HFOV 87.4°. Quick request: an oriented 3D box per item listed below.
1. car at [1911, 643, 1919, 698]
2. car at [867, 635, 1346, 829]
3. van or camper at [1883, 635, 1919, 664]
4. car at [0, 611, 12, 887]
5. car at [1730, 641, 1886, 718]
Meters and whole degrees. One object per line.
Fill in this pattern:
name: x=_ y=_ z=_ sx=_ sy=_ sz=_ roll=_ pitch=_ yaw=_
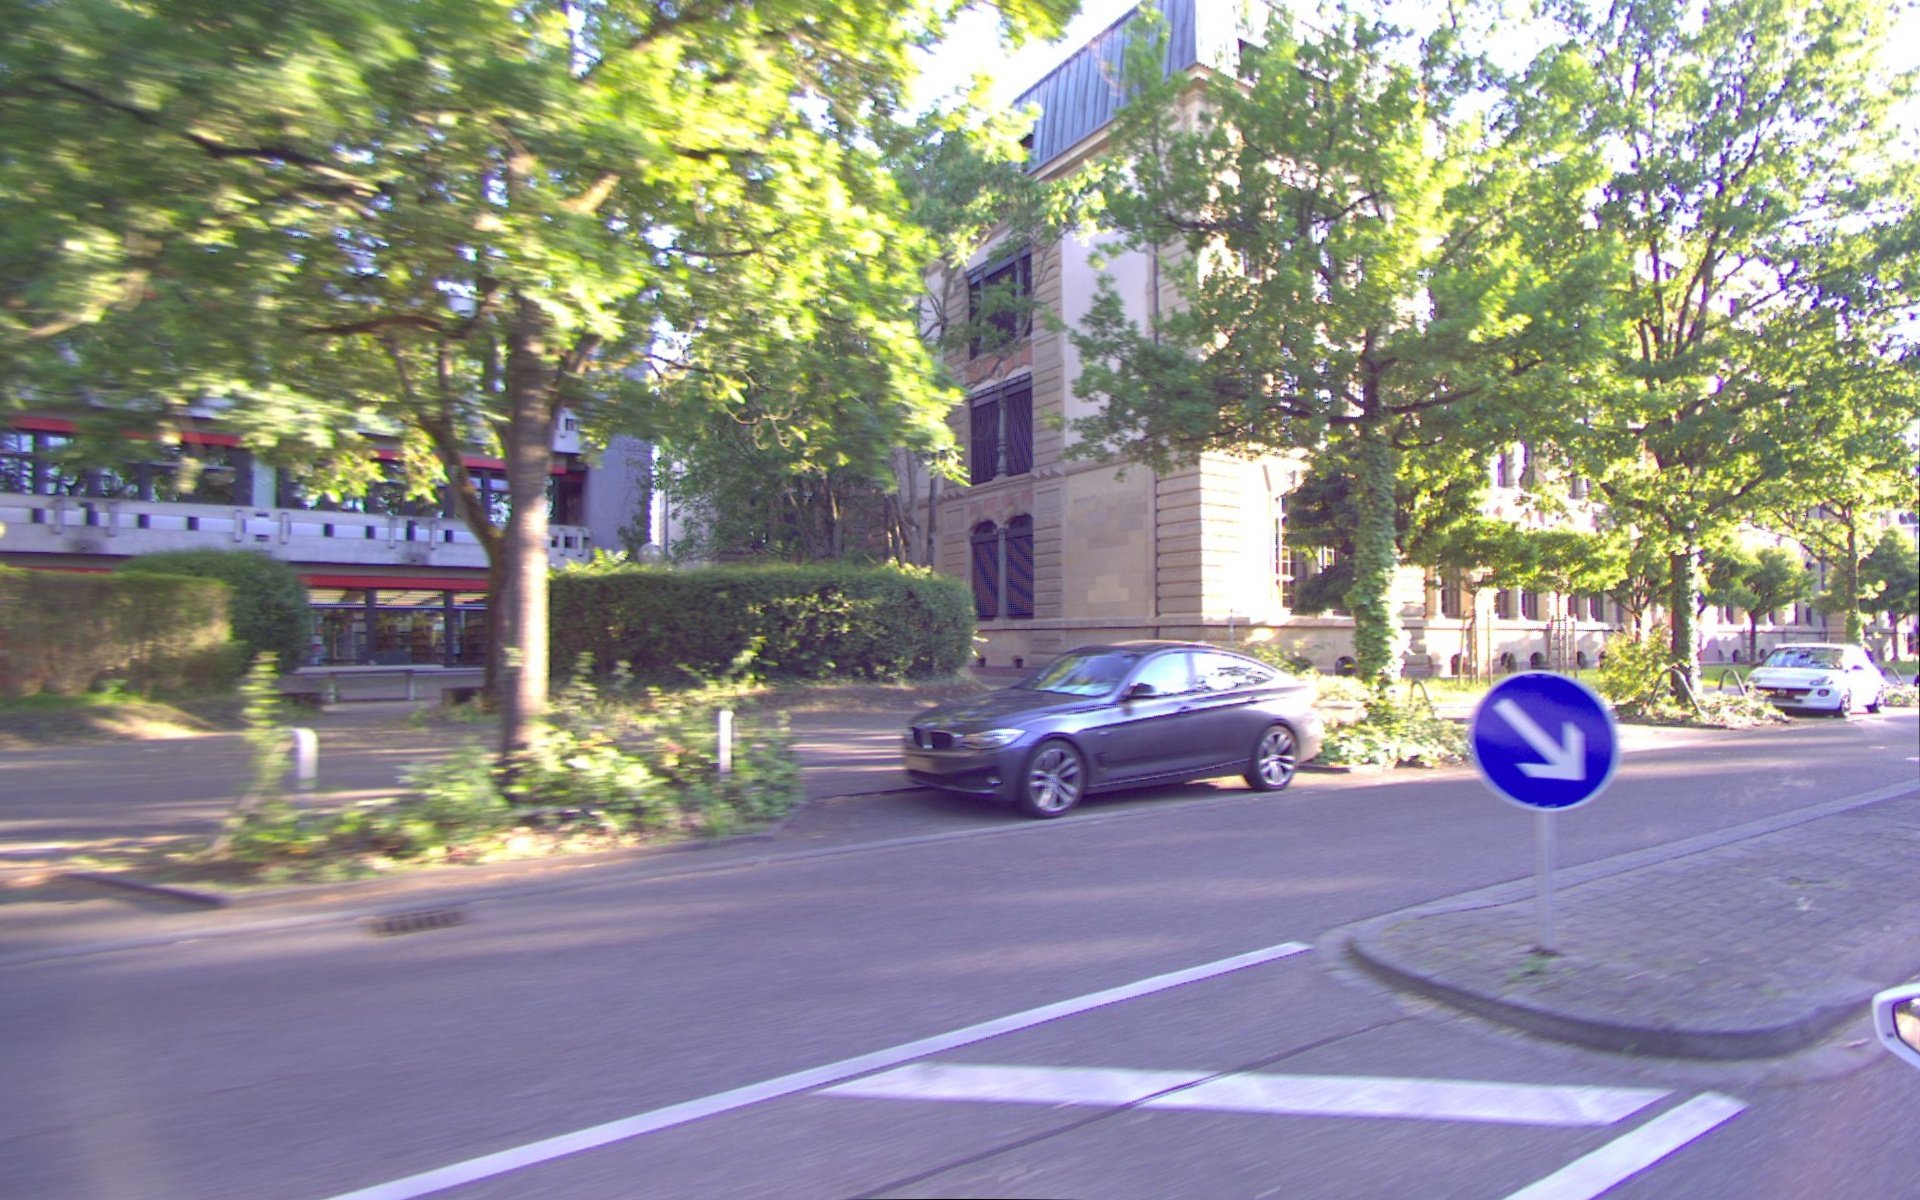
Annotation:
car: x=28.752 y=1.994 z=28.567 sx=4.332 sy=1.516 sz=1.608 roll=2 pitch=-2 yaw=-35
car: x=1.613 y=1.140 z=10.103 sx=4.810 sy=1.530 sz=1.792 roll=2 pitch=-2 yaw=-33
van or camper: x=70.366 y=3.576 z=72.733 sx=1.977 sy=2.012 sz=4.744 roll=-4 pitch=0 yaw=-31
car: x=-6.933 y=0.818 z=4.142 sx=4.105 sy=1.637 sz=1.769 roll=2 pitch=-2 yaw=-34
car: x=18.362 y=1.656 z=21.700 sx=3.884 sy=1.516 sz=1.608 roll=2 pitch=-2 yaw=-35
